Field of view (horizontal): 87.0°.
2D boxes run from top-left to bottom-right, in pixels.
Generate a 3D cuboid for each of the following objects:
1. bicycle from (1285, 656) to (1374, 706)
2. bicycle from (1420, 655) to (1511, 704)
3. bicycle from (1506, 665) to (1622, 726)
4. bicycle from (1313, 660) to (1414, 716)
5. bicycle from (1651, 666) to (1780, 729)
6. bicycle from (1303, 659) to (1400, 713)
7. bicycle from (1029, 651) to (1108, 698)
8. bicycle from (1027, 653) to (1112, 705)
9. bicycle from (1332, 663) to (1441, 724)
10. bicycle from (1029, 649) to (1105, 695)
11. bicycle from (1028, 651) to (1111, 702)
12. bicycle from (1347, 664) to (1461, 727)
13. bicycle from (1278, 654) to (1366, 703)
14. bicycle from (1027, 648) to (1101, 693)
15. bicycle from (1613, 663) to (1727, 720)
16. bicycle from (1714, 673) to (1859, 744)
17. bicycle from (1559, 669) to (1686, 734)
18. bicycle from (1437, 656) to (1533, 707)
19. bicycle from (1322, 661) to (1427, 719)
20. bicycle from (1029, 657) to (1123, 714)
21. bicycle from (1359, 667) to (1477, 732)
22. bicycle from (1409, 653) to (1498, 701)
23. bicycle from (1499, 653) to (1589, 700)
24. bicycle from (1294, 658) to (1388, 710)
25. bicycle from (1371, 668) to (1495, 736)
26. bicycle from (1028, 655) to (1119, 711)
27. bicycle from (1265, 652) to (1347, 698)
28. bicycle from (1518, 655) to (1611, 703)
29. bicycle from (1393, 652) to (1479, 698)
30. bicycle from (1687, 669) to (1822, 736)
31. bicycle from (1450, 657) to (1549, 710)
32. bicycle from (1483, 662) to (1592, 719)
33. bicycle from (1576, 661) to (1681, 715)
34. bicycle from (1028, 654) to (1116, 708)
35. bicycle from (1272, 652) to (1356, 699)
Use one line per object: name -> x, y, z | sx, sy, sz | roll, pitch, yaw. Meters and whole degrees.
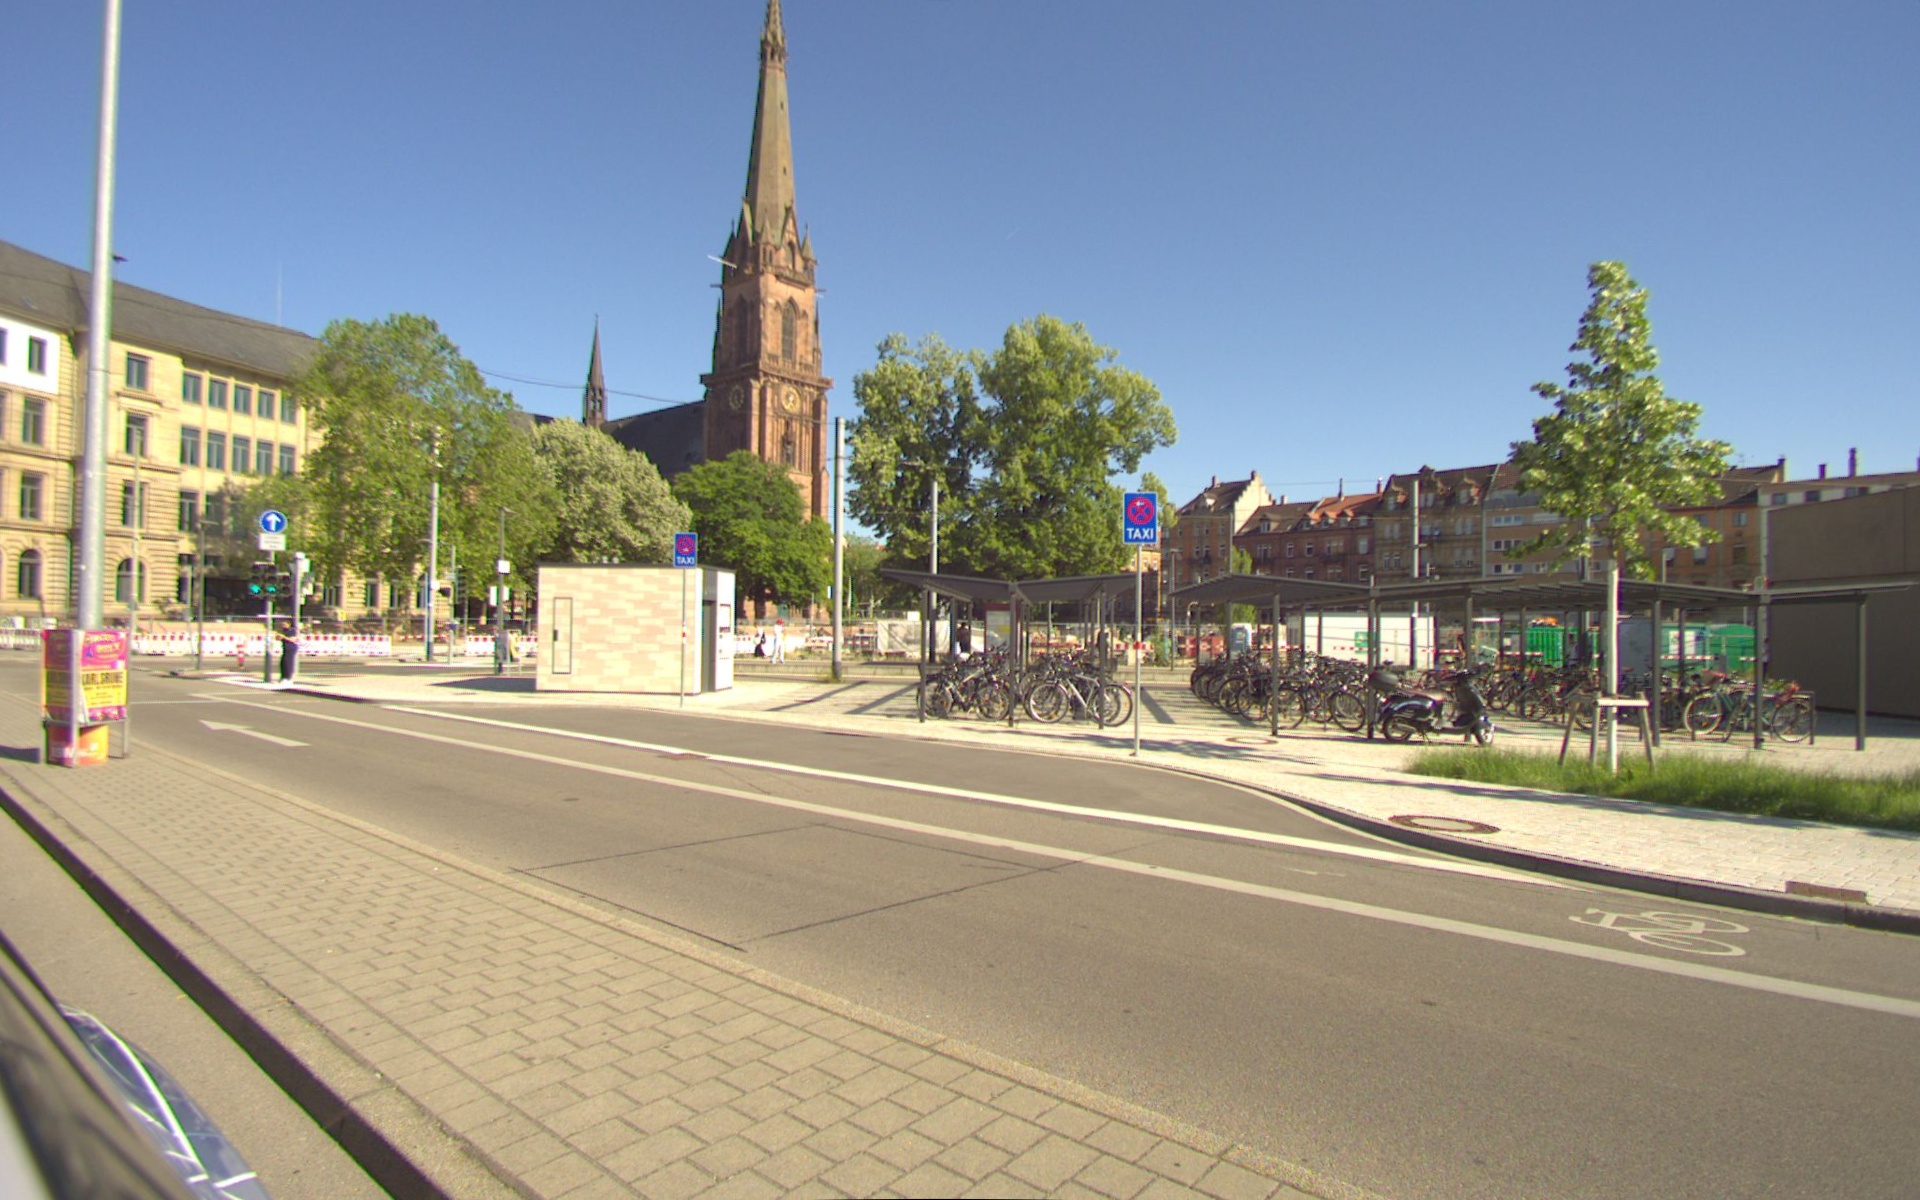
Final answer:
bicycle -> 8.150, 1.783, 22.361 | 1.765, 1.046, 0.567 | 1, -3, 4
bicycle -> 11.414, 1.789, 22.882 | 1.765, 1.046, 0.567 | 1, -3, 4
bicycle -> 11.214, 1.764, 18.826 | 1.765, 1.046, 0.567 | 1, -3, 4
bicycle -> 8.022, 1.745, 20.169 | 1.765, 1.046, 0.567 | 1, -3, 4
bicycle -> 13.594, 1.749, 18.248 | 1.769, 1.046, 0.566 | 1, -3, 12
bicycle -> 8.064, 1.766, 20.879 | 1.765, 1.046, 0.567 | 1, -3, 4
bicycle -> 2.513, 1.724, 23.552 | 1.765, 1.046, 0.567 | 1, -3, 4
bicycle -> 2.332, 1.673, 21.627 | 1.765, 1.046, 0.567 | 1, -3, 4
bicycle -> 7.930, 1.728, 18.845 | 1.765, 1.046, 0.567 | 1, -3, 4
bicycle -> 2.538, 1.717, 24.180 | 1.765, 1.046, 0.567 | 1, -3, 4
bicycle -> 2.395, 1.672, 22.227 | 1.765, 1.046, 0.567 | 1, -3, 4
bicycle -> 7.920, 1.705, 18.101 | 1.765, 1.046, 0.567 | 1, -3, 4
bicycle -> 8.200, 1.775, 22.963 | 1.765, 1.046, 0.567 | 1, -3, 4
bicycle -> 2.531, 1.715, 24.812 | 1.765, 1.046, 0.567 | 1, -3, 4
bicycle -> 13.798, 1.768, 19.704 | 1.765, 1.046, 0.567 | 1, -3, 4
bicycle -> 13.162, 1.716, 16.148 | 1.765, 1.046, 0.567 | 1, -3, 4
bicycle -> 11.455, 1.750, 17.535 | 1.765, 1.046, 0.567 | 1, -3, 4
bicycle -> 11.435, 1.776, 22.089 | 1.765, 1.046, 0.567 | 1, -3, 4
bicycle -> 7.962, 1.728, 19.482 | 1.765, 1.046, 0.567 | 1, -3, 4
bicycle -> 2.253, 1.653, 19.772 | 1.765, 1.046, 0.567 | 1, -3, 4
bicycle -> 7.895, 1.711, 17.498 | 1.765, 1.046, 0.567 | 1, -3, 4
bicycle -> 11.447, 1.783, 23.503 | 1.765, 1.046, 0.567 | 1, -3, 4
bicycle -> 13.833, 1.814, 23.989 | 1.765, 1.046, 0.567 | 1, -3, 4
bicycle -> 8.115, 1.778, 21.597 | 1.765, 1.046, 0.567 | 1, -3, 4
bicycle -> 7.852, 1.690, 16.835 | 1.765, 1.046, 0.567 | 1, -3, 4
bicycle -> 2.272, 1.663, 20.387 | 1.765, 1.046, 0.567 | 1, -3, 4
bicycle -> 8.273, 1.794, 24.234 | 1.765, 1.046, 0.567 | 1, -3, 4
bicycle -> 13.888, 1.814, 23.274 | 1.765, 1.046, 0.567 | 1, -3, 4
bicycle -> 11.378, 1.780, 24.217 | 1.765, 1.046, 0.567 | 1, -3, 4
bicycle -> 13.388, 1.722, 17.083 | 1.765, 1.046, 0.567 | 1, -3, 4
bicycle -> 11.374, 1.761, 21.372 | 1.765, 1.046, 0.567 | 1, -3, 4
bicycle -> 11.288, 1.762, 19.823 | 1.765, 1.046, 0.567 | 1, -3, 4
bicycle -> 13.846, 1.815, 20.988 | 1.765, 1.046, 0.567 | 1, -3, 4
bicycle -> 2.304, 1.663, 20.989 | 1.765, 1.046, 0.567 | 1, -3, 4
bicycle -> 8.243, 1.755, 23.598 | 1.765, 1.046, 0.567 | 1, -3, 4
